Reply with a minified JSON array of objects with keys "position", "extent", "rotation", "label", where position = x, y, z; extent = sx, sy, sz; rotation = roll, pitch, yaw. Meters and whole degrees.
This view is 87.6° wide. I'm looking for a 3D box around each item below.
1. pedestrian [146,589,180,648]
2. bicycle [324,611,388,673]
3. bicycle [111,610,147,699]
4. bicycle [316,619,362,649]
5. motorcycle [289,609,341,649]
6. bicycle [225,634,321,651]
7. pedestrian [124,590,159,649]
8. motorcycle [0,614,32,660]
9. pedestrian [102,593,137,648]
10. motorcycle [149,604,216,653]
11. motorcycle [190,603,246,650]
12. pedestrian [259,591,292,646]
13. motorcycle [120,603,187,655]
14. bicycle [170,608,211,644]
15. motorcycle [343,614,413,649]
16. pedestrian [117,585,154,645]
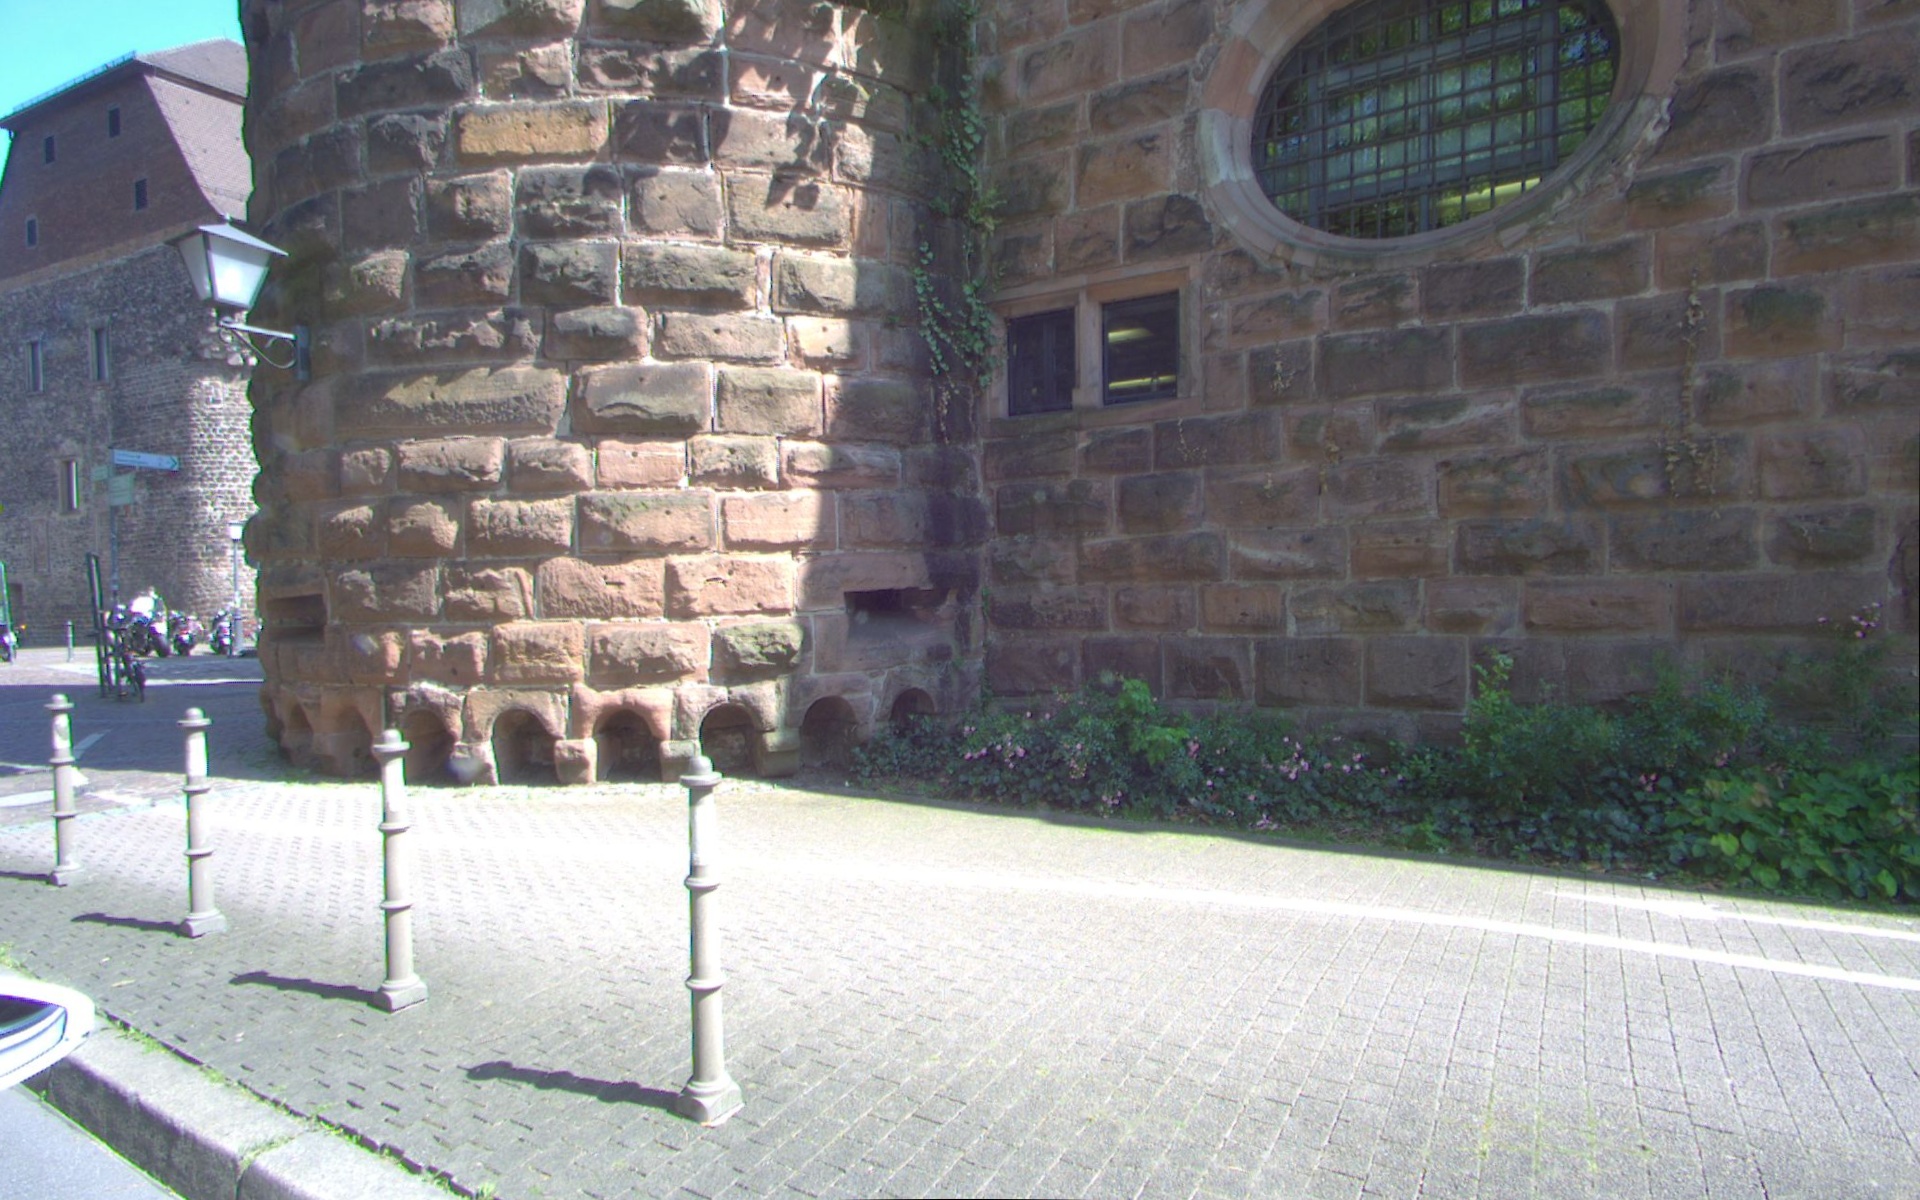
[{"position":[-26.960,0.637,33.865],"extent":[0.809,1.944,0.667],"rotation":[-1,-1,31],"label":"pedestrian"},{"position":[-12.011,0.807,19.889],"extent":[1.707,1.178,0.445],"rotation":[0,1,36],"label":"bicycle"},{"position":[-12.022,0.756,14.469],"extent":[1.750,1.220,0.192],"rotation":[0,1,44],"label":"bicycle"},{"position":[-18.372,1.000,29.612],"extent":[1.898,0.831,0.353],"rotation":[0,-1,32],"label":"bicycle"},{"position":[-18.073,0.816,28.038],"extent":[1.814,1.087,0.506],"rotation":[-1,-2,32],"label":"motorcycle"},{"position":[-17.563,1.090,25.624],"extent":[1.916,0.386,0.909],"rotation":[0,-2,-44],"label":"bicycle"},{"position":[-26.947,0.653,32.970],"extent":[0.809,1.908,0.667],"rotation":[-1,-1,31],"label":"pedestrian"},{"position":[-22.221,0.835,23.077],"extent":[2.453,1.026,0.565],"rotation":[0,1,32],"label":"motorcycle"},{"position":[-28.064,0.681,33.437],"extent":[0.835,1.826,0.651],"rotation":[0,0,31],"label":"pedestrian"},{"position":[-20.684,0.758,26.620],"extent":[2.280,1.251,0.674],"rotation":[-1,-2,32],"label":"motorcycle"},{"position":[-20.348,0.737,27.451],"extent":[2.002,1.251,0.545],"rotation":[-1,-2,32],"label":"motorcycle"},{"position":[-21.348,0.560,31.254],"extent":[0.799,1.684,0.652],"rotation":[-1,1,-34],"label":"pedestrian"},{"position":[-20.542,0.732,25.484],"extent":[2.169,1.282,0.654],"rotation":[-1,-1,32],"label":"motorcycle"},{"position":[-26.622,0.907,34.643],"extent":[1.690,1.225,0.388],"rotation":[-1,-1,24],"label":"bicycle"},{"position":[-18.187,0.990,31.335],"extent":[0.474,1.067,1.858],"rotation":[-1,-2,40],"label":"motorcycle"},{"position":[-28.387,0.536,34.482],"extent":[0.865,2.039,0.729],"rotation":[-1,-1,32],"label":"pedestrian"}]
